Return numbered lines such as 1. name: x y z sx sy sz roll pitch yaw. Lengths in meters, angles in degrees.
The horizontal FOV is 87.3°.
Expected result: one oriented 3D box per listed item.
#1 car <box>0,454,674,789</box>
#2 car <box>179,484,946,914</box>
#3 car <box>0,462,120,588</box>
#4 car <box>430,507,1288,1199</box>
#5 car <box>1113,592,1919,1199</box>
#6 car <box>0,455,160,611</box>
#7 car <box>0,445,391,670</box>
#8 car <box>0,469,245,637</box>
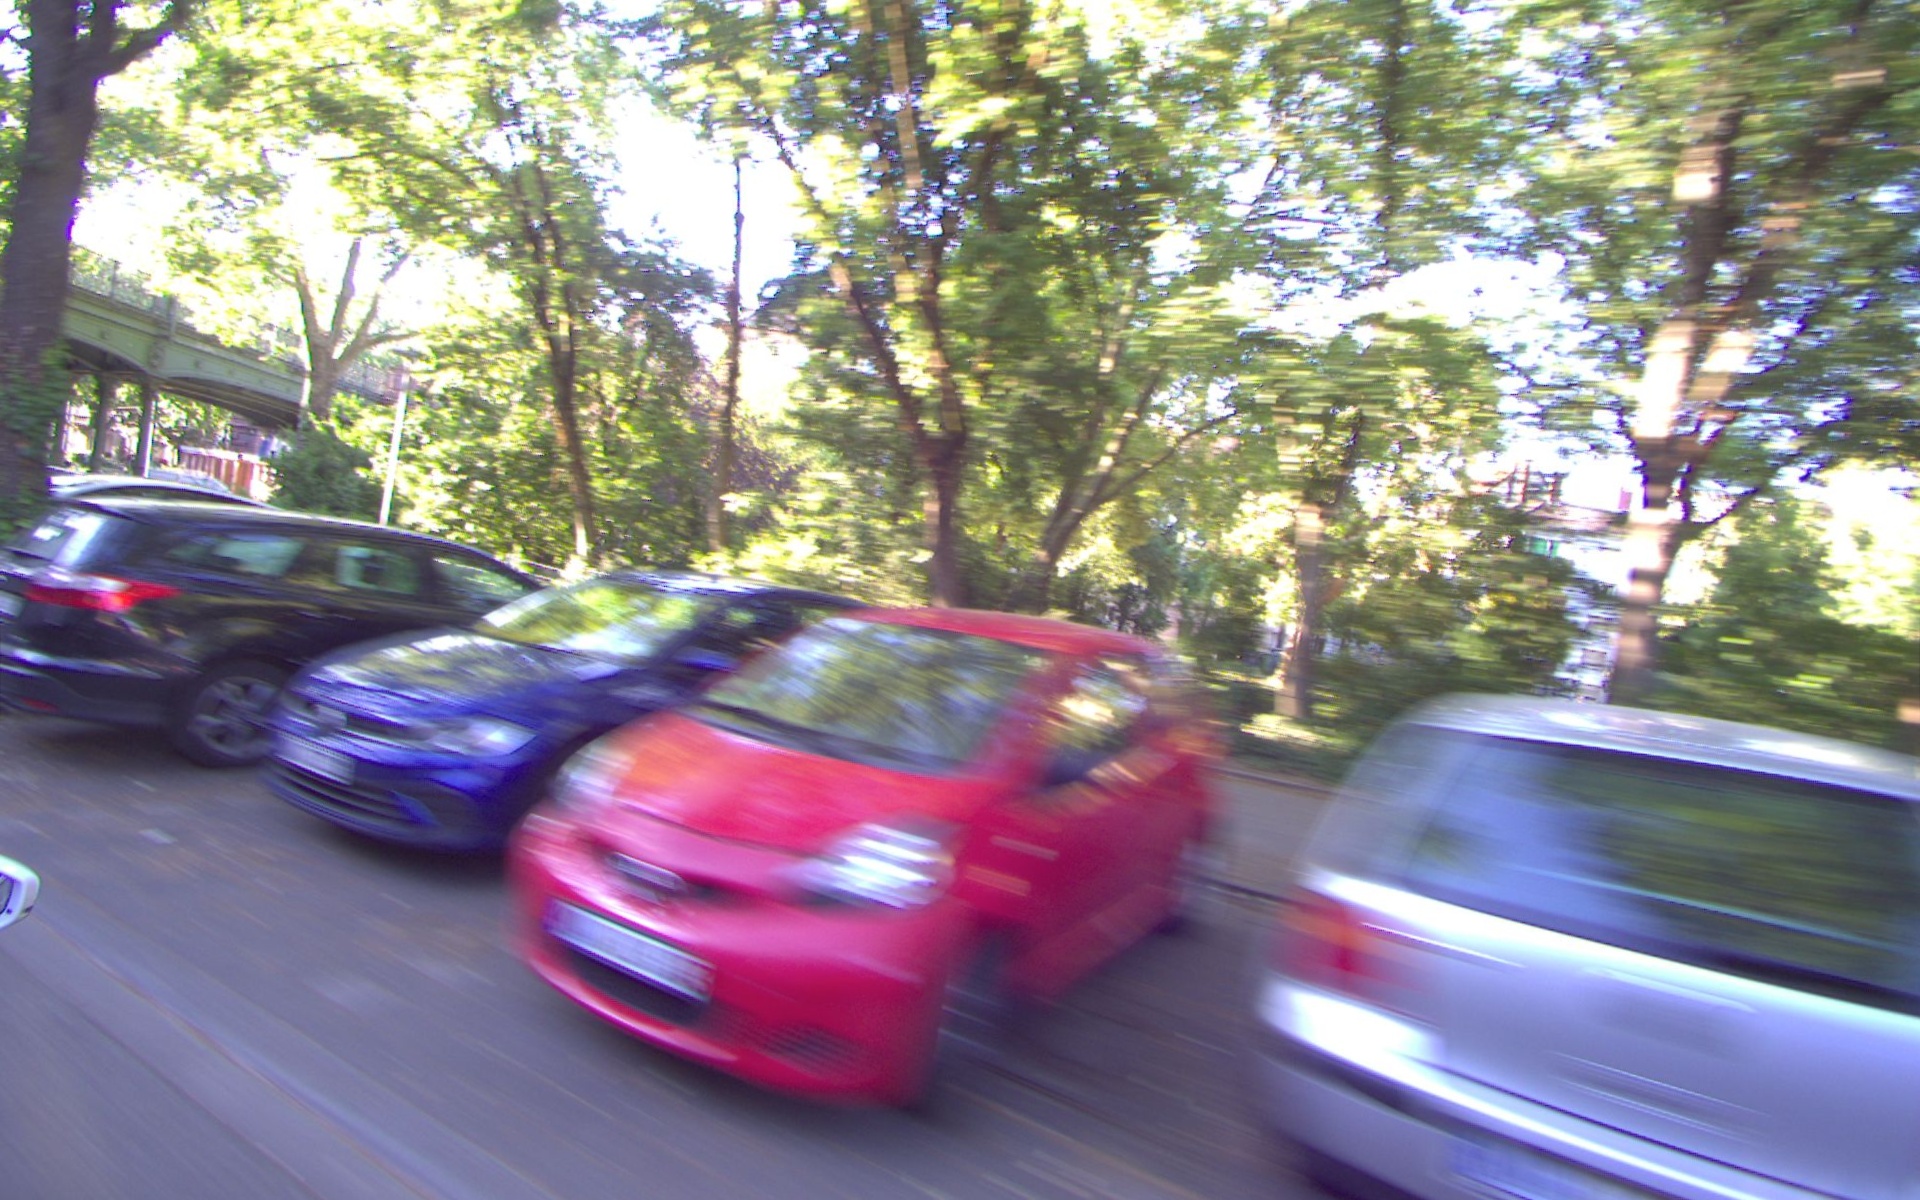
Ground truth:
1. car: -4.128 0.223 6.943 1.560 1.592 4.029 8 -1 31
2. car: -1.871 0.528 6.000 1.560 1.592 3.995 8 -1 31
3. car: -14.633 -1.270 13.667 1.708 1.625 4.587 8 0 36
4. car: 0.112 0.777 4.460 1.560 1.592 3.995 8 -1 31
5. car: 2.220 1.061 3.520 1.639 1.592 3.991 7 -2 35
6. car: -12.585 -1.017 11.895 1.874 1.728 4.386 8 -1 29
7. car: -8.182 -0.417 9.370 1.876 1.715 4.542 8 -2 31
8. car: -10.514 -0.642 10.600 1.845 1.550 4.383 8 -2 31
